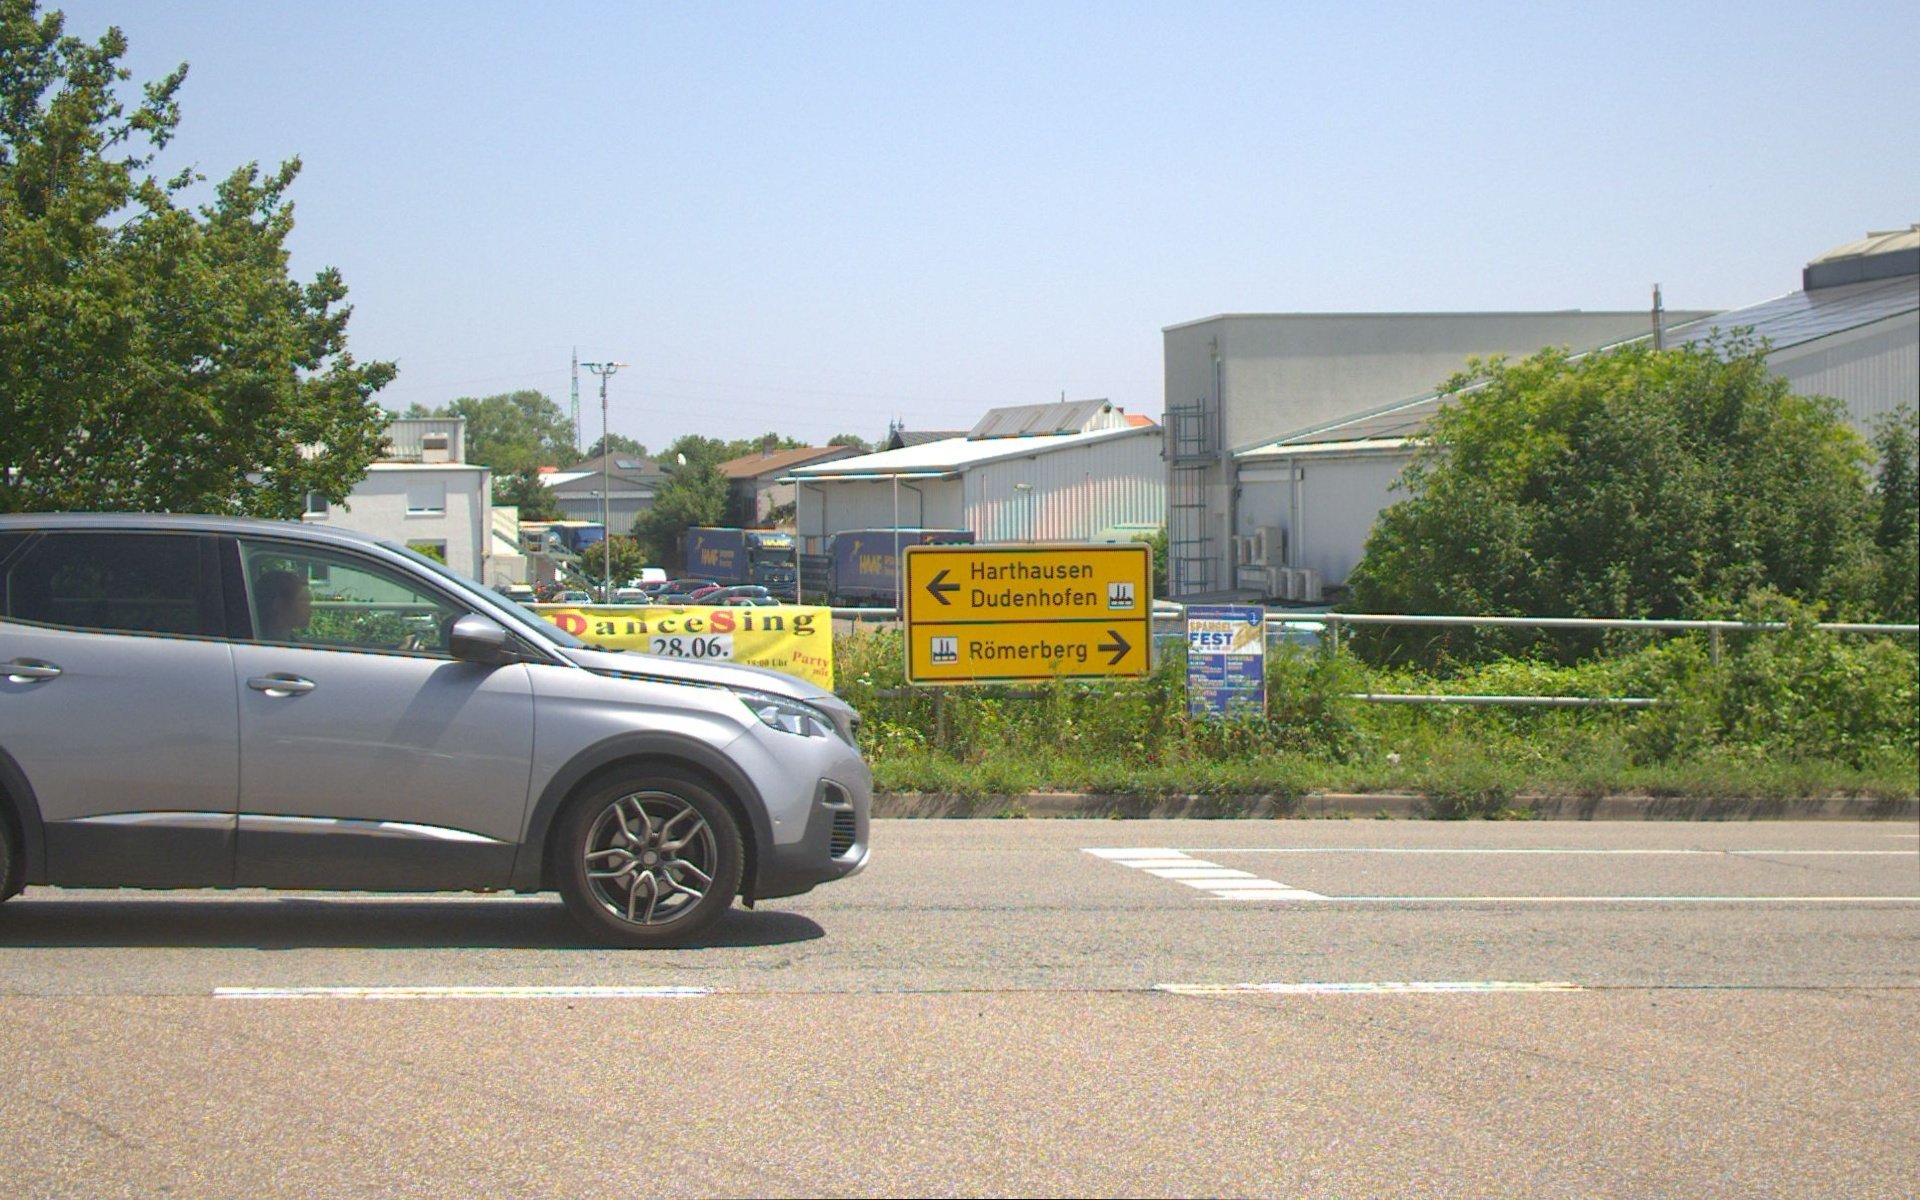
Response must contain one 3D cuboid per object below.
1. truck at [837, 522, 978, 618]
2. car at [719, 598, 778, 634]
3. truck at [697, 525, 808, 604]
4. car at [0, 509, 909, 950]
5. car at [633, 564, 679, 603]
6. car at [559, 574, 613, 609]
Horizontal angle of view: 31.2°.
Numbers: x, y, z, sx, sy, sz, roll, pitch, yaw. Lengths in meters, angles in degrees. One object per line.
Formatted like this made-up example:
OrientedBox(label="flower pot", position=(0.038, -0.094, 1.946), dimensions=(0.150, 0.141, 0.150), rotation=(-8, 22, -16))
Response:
OrientedBox(label="truck", position=(-2.581, -1.463, 162.032), dimensions=(3.707, 4.296, 13.346), rotation=(1, 1, -14))
OrientedBox(label="car", position=(-8.892, 0.655, 144.082), dimensions=(1.682, 1.358, 3.837), rotation=(-2, 2, -15))
OrientedBox(label="truck", position=(-11.880, -2.064, 195.253), dimensions=(3.410, 4.296, 14.598), rotation=(1, 1, -15))
OrientedBox(label="car", position=(-2.559, 0.471, 13.371), dimensions=(4.475, 1.578, 1.798), rotation=(1, 0, -10))
OrientedBox(label="car", position=(-16.269, -0.888, 183.754), dimensions=(1.716, 2.007, 4.001), rotation=(0, 1, -15))
OrientedBox(label="car", position=(-19.285, -0.444, 177.120), dimensions=(1.993, 1.725, 4.865), rotation=(1, 1, -16))
